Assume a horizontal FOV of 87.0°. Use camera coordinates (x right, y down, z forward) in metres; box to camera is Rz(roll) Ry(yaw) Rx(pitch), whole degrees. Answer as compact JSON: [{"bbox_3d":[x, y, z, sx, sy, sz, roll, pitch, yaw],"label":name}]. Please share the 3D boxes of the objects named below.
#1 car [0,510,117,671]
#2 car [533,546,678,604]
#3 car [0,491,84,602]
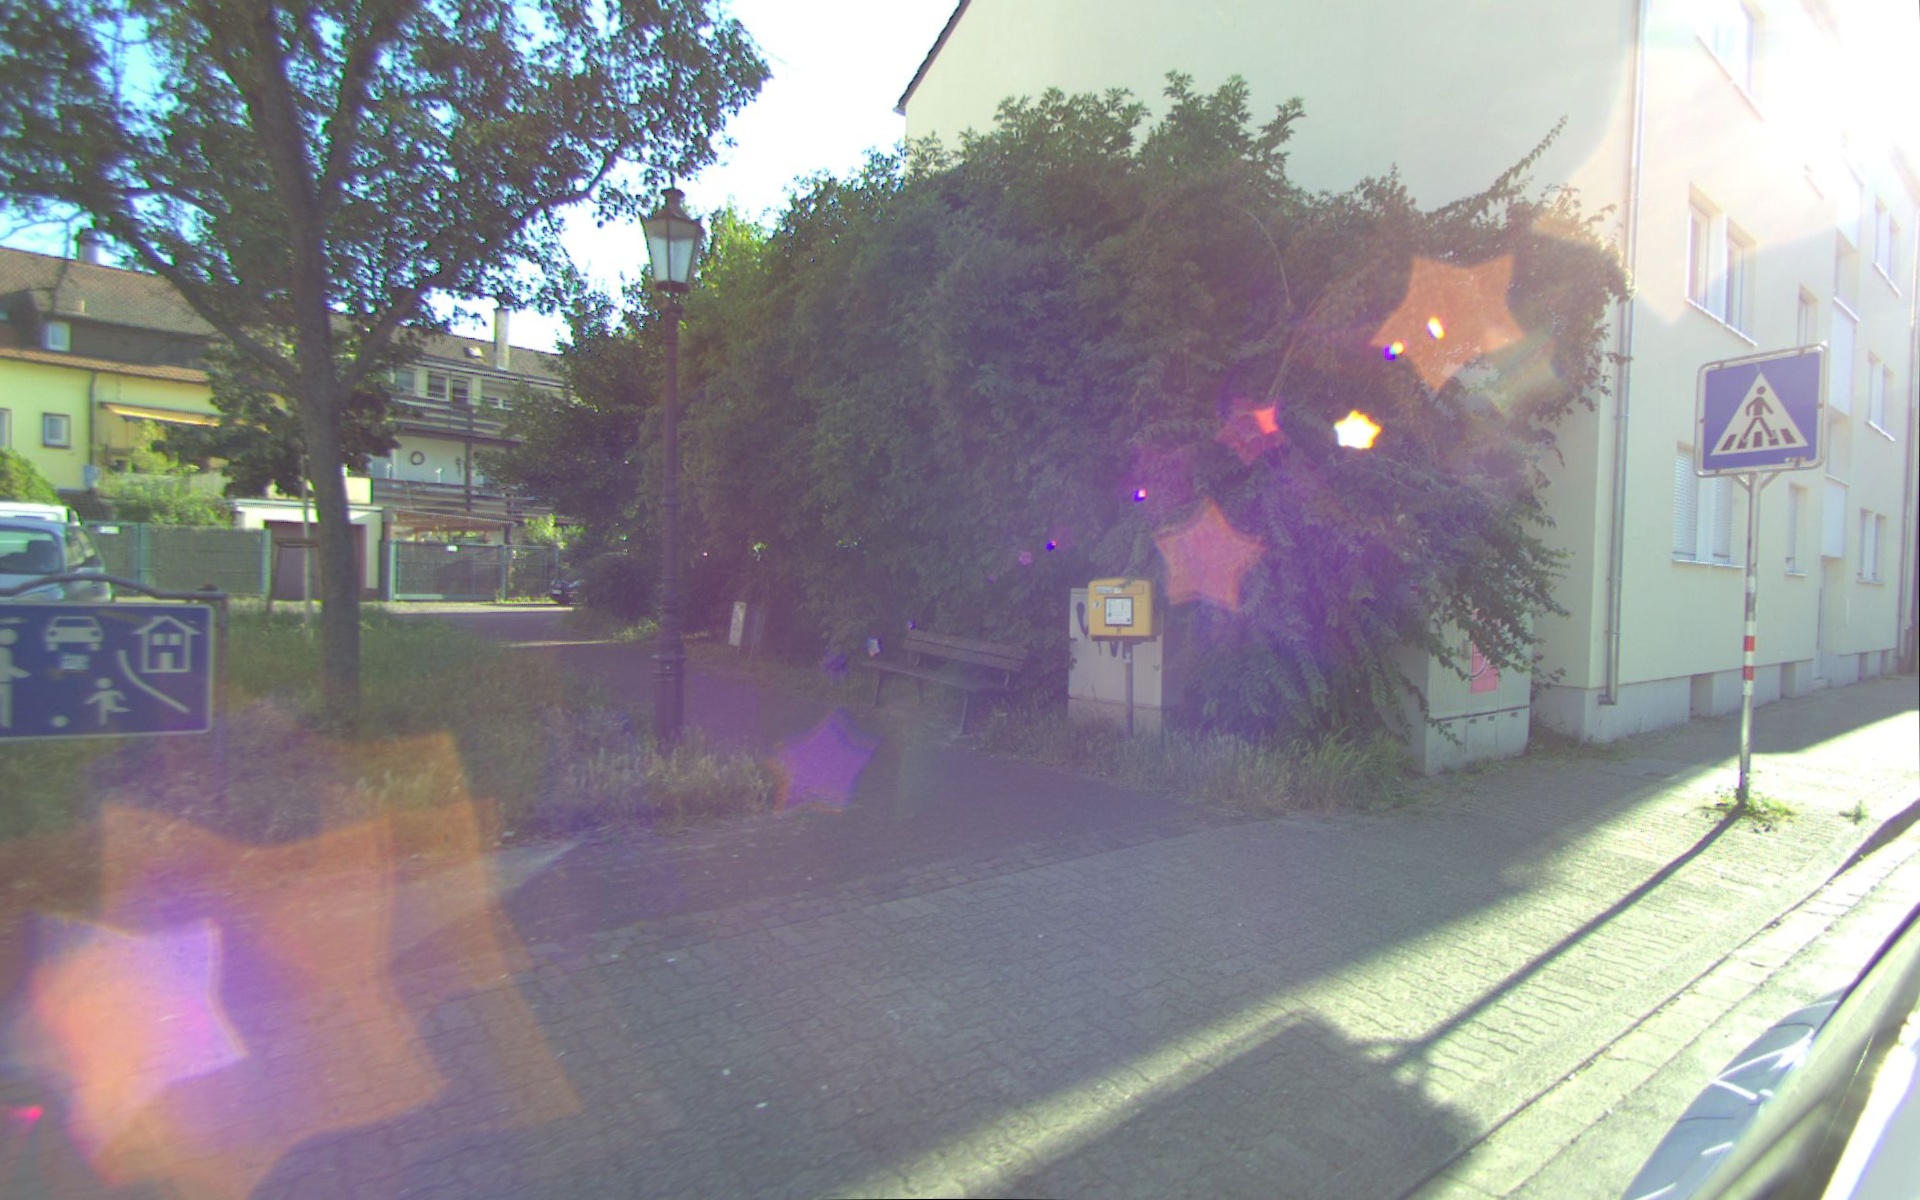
[{"bbox_3d":[-10.834,-0.214,11.374,1.680,1.576,4.035,1,3,-34],"label":"car"},{"bbox_3d":[-10.406,-0.688,29.864,3.686,1.610,1.721,0,-1,-43],"label":"car"},{"bbox_3d":[-19.807,-1.067,18.889,1.989,2.053,4.900,-1,-2,38],"label":"car"}]
